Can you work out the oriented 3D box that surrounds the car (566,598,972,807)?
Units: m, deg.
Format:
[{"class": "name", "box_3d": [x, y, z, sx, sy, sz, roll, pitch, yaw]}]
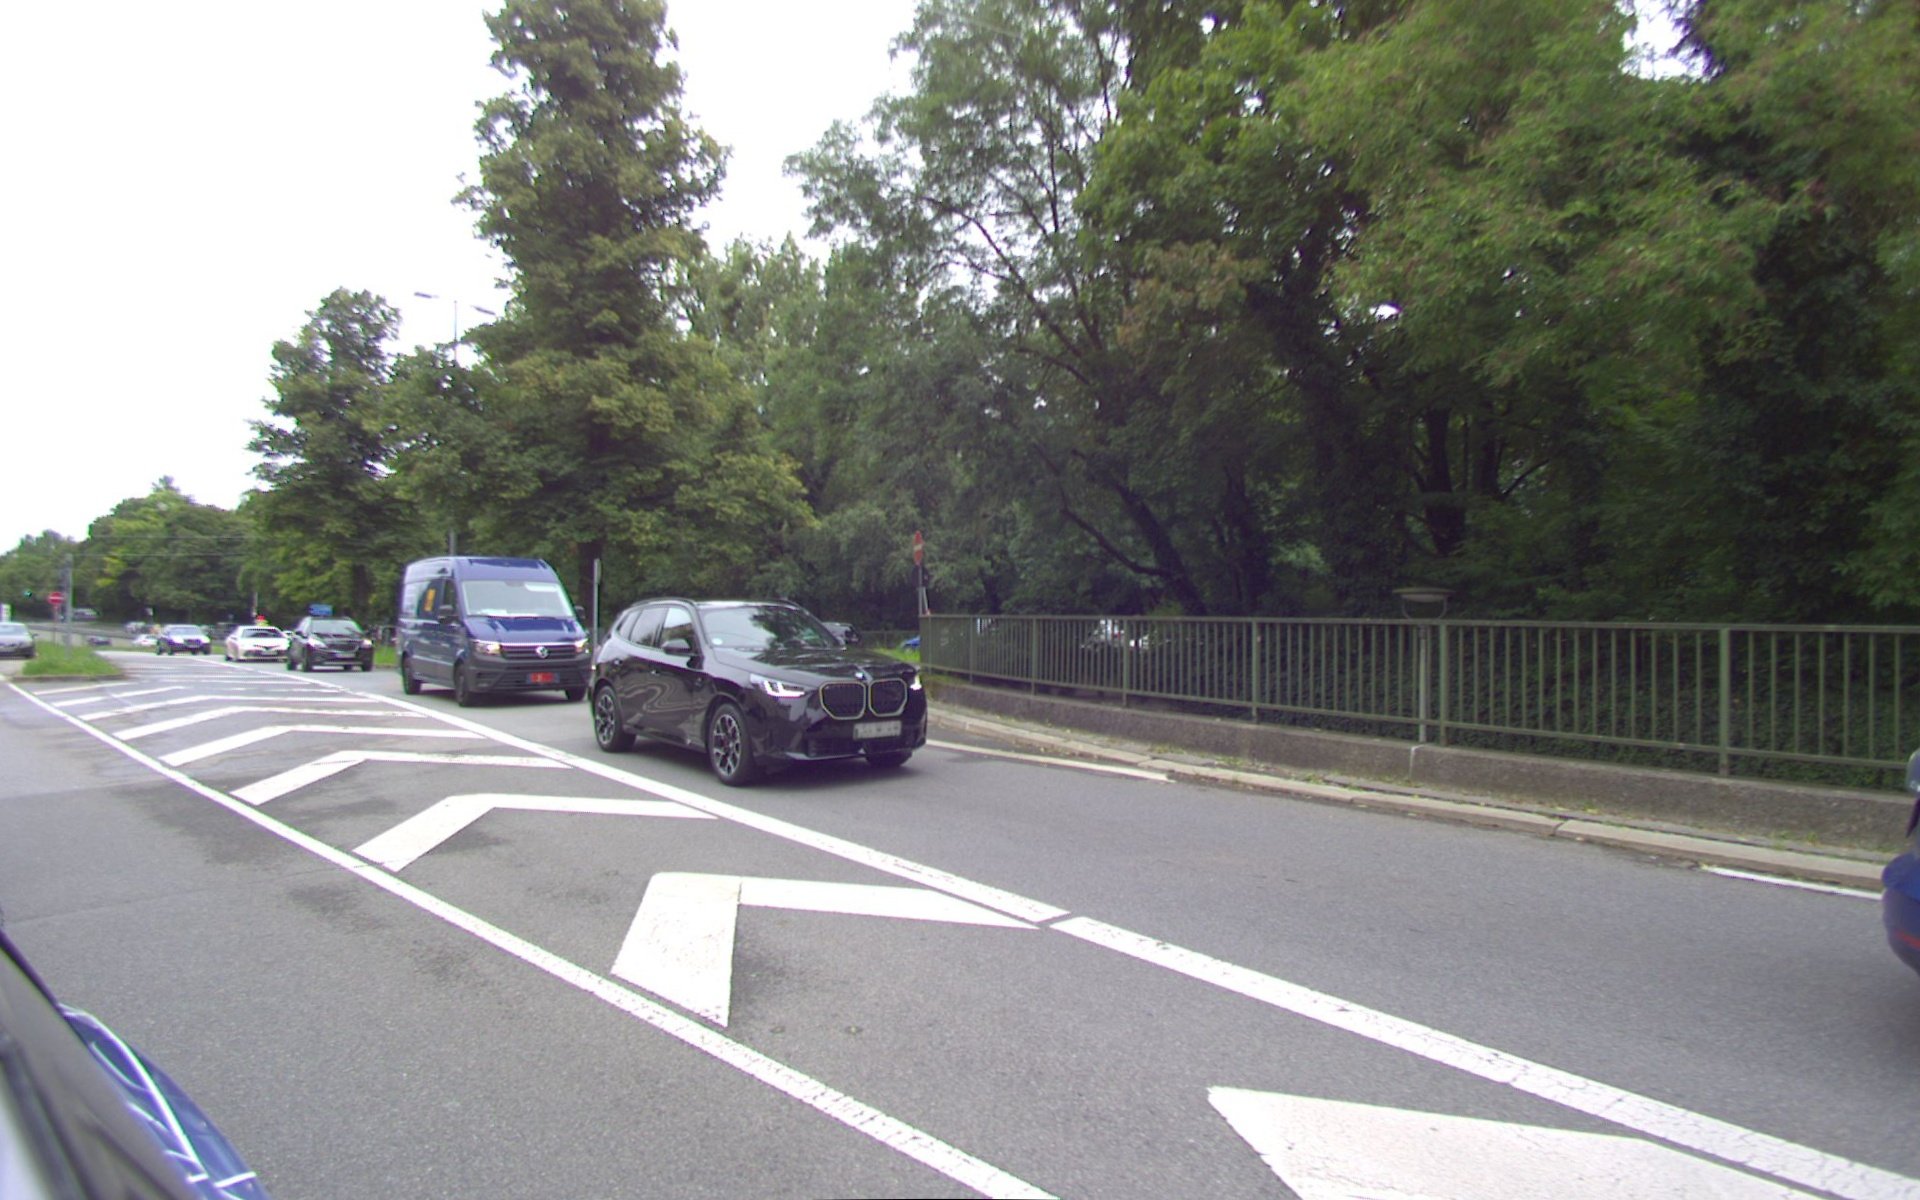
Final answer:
[{"class": "car", "box_3d": [-2.181, 0.838, 10.237, 1.889, 1.598, 4.837, 0, -1, -40]}]

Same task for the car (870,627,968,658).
[{"class": "car", "box_3d": [-2.012, 2.041, 49.168, 4.406, 1.457, 1.979, -1, -3, 30]}]

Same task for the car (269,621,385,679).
[{"class": "car", "box_3d": [-19.258, 1.481, 30.721, 4.274, 1.640, 1.965, -2, -3, 44]}]

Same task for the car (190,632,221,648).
[{"class": "car", "box_3d": [-82.937, 4.385, 111.235, 3.997, 1.759, 1.842, -1, -2, 41]}]

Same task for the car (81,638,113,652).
[{"class": "car", "box_3d": [-88.966, 4.602, 104.340, 4.030, 1.457, 1.872, -2, -3, 40]}]

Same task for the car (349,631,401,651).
[{"class": "car", "box_3d": [-47.458, 3.344, 82.105, 4.699, 1.546, 1.975, -1, -3, 37]}]

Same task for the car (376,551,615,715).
[{"class": "car", "box_3d": [-8.519, 0.544, 18.197, 2.158, 2.482, 5.858, 2, -2, -43]}]

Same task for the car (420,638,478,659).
[{"class": "car", "box_3d": [-37.529, 3.557, 74.281, 4.518, 1.457, 1.975, -1, -3, 37]}]

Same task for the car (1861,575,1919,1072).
[{"class": "car", "box_3d": [5.041, 0.629, 1.921, 1.962, 1.465, 4.741, 2, -2, -41]}]

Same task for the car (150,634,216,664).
[{"class": "car", "box_3d": [-42.796, 2.653, 55.729, 4.269, 1.577, 1.967, -1, -2, 39]}]

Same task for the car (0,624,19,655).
[{"class": "car", "box_3d": [-50.408, 2.039, 52.591, 4.284, 1.577, 1.964, -2, -3, 45]}]

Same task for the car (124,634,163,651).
[{"class": "car", "box_3d": [-73.427, 3.812, 90.989, 4.232, 1.457, 1.809, -2, -3, 39]}]

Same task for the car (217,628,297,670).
[{"class": "car", "box_3d": [-28.487, 1.935, 40.934, 1.964, 1.577, 4.658, 2, -3, -44]}]

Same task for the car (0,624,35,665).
[{"class": "car", "box_3d": [-39.224, 1.800, 41.446, 1.876, 1.577, 4.775, 2, -3, -43]}]

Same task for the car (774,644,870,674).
[{"class": "car", "box_3d": [-7.130, 3.040, 52.209, 4.751, 1.457, 1.979, -1, -3, 31]}]

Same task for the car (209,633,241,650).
[{"class": "car", "box_3d": [-77.762, 4.348, 106.994, 3.997, 1.759, 1.861, -1, -2, 41]}]
